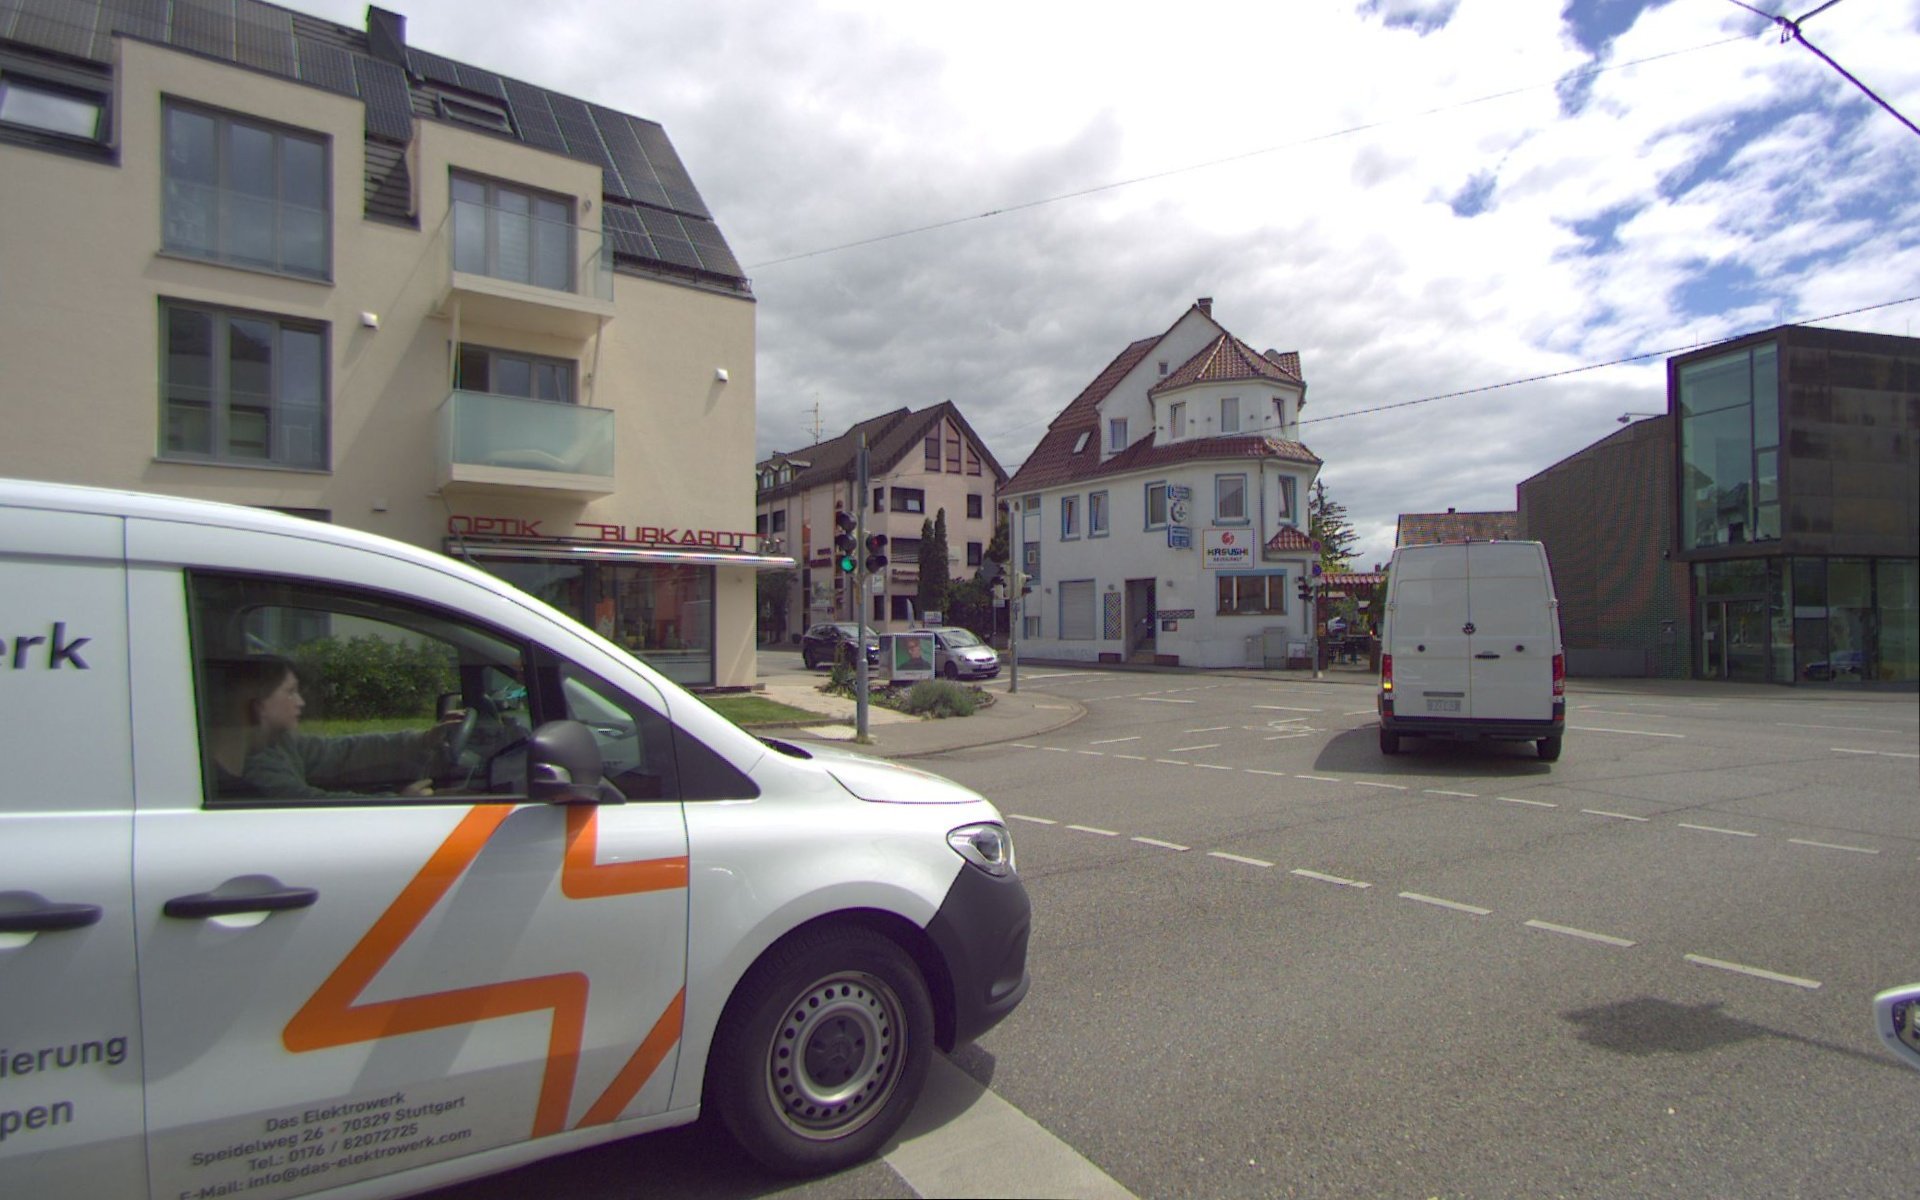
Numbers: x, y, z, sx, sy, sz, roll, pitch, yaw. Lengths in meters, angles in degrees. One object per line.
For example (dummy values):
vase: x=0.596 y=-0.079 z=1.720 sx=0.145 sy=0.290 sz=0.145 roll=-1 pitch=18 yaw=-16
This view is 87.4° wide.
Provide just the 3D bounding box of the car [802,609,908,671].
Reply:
car: x=-3.773 y=1.360 z=35.576 sx=1.982 sy=2.040 sz=3.958 roll=0 pitch=-1 yaw=-37

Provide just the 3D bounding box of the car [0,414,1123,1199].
car: x=-1.783 y=0.611 z=2.816 sx=4.371 sy=1.835 sz=1.805 roll=1 pitch=-2 yaw=-33

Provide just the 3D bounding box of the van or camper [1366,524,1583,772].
van or camper: x=6.864 y=0.575 z=13.620 sx=2.075 sy=2.621 sz=5.639 roll=-2 pitch=-1 yaw=26

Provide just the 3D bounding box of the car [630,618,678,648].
car: x=-22.126 y=2.358 z=72.532 sx=1.983 sy=2.040 sz=3.955 roll=2 pitch=-2 yaw=-39

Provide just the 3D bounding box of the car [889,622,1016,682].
car: x=-0.286 y=1.540 z=30.790 sx=1.982 sy=1.706 sz=3.959 roll=1 pitch=-2 yaw=-37

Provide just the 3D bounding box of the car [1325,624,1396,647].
car: x=24.021 y=2.117 z=60.321 sx=3.921 sy=1.327 sz=1.534 roll=0 pitch=-1 yaw=20
